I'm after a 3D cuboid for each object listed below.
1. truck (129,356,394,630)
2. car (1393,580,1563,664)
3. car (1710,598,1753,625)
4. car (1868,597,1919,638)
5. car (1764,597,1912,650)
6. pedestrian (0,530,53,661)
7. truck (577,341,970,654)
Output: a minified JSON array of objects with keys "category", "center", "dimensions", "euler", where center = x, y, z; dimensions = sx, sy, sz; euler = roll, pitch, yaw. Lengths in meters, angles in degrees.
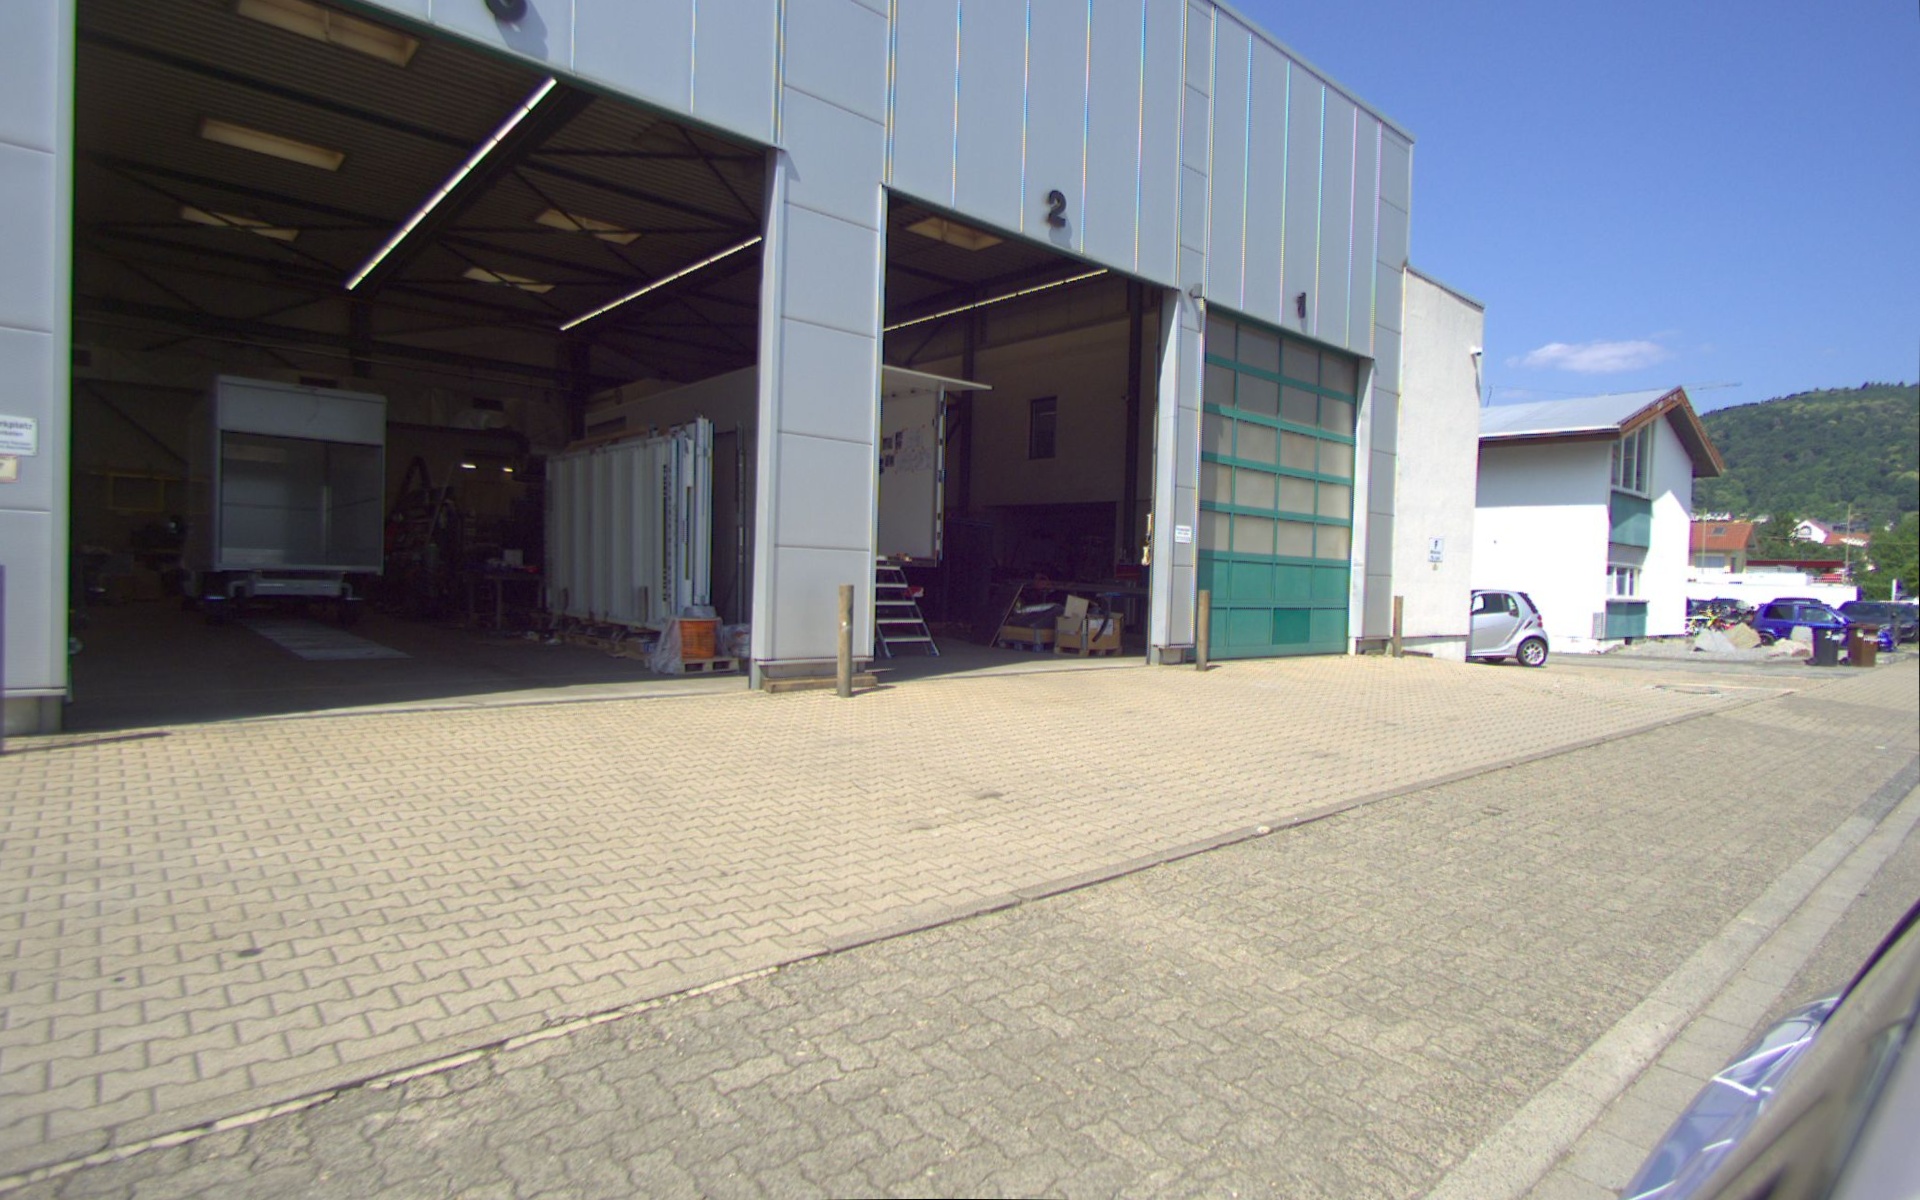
[{"category":"truck","center":[-11.808,-1.570,16.731],"dimensions":[2.721,3.501,7.568],"euler":[1,3,-41]},{"category":"car","center":[10.649,0.437,20.927],"dimensions":[2.771,1.553,1.312],"euler":[2,0,2]},{"category":"car","center":[41.808,0.599,54.821],"dimensions":[3.135,1.396,1.449],"euler":[-1,1,-45]},{"category":"car","center":[36.369,0.636,39.242],"dimensions":[1.445,1.515,3.144],"euler":[0,1,37]},{"category":"car","center":[24.481,0.618,28.274],"dimensions":[1.427,1.357,2.974],"euler":[0,1,-40]},{"category":"pedestrian","center":[-8.863,-0.055,9.380],"dimensions":[0.606,1.185,0.491],"euler":[3,2,28]},{"category":"truck","center":[-3.426,-1.456,16.233],"dimensions":[2.578,3.828,7.854],"euler":[1,3,-40]}]
